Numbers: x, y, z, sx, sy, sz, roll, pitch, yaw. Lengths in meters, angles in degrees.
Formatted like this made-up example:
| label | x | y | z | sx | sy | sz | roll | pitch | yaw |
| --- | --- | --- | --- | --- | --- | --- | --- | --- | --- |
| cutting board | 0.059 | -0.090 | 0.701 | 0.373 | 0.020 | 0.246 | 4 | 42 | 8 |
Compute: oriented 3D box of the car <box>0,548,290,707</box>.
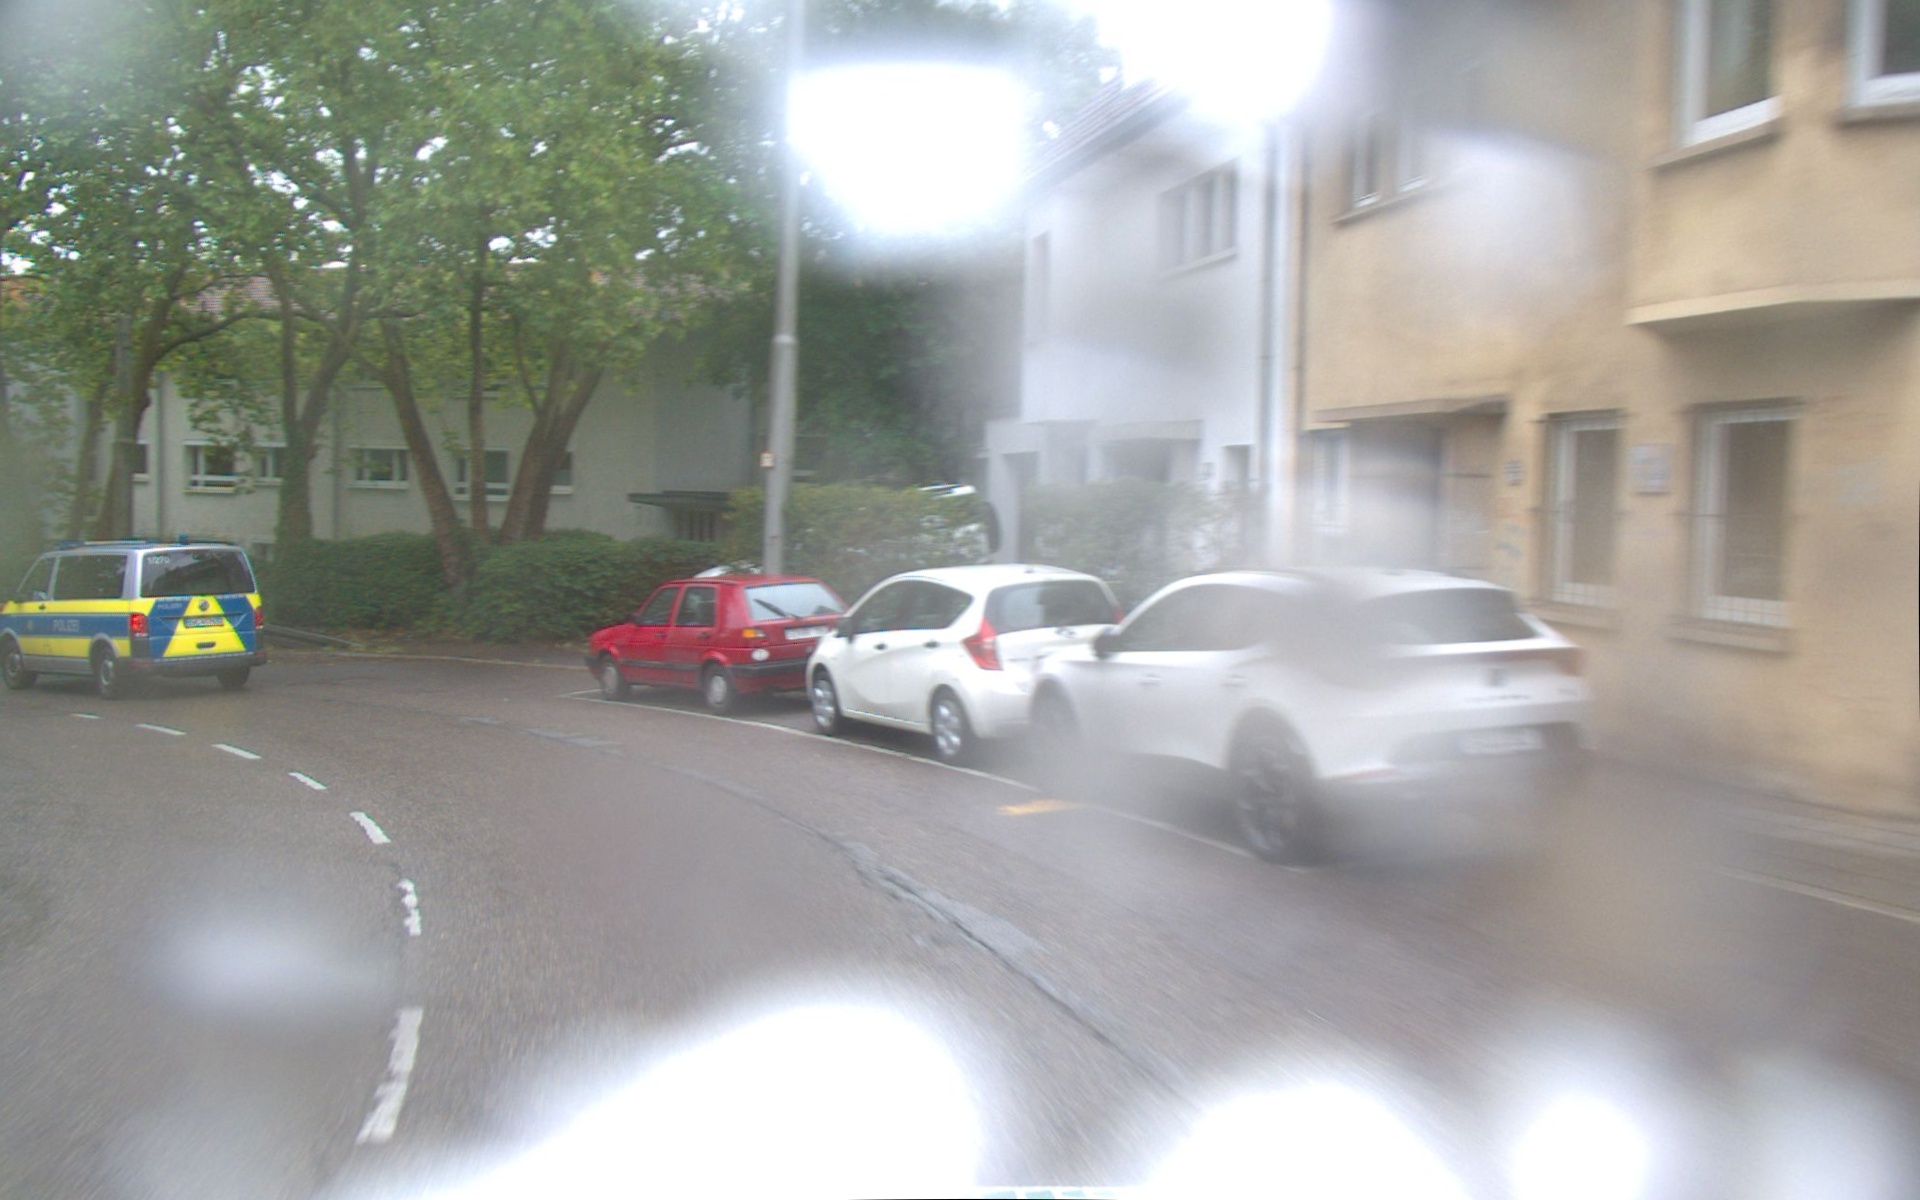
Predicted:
| label | x | y | z | sx | sy | sz | roll | pitch | yaw |
| --- | --- | --- | --- | --- | --- | --- | --- | --- | --- |
| car | -11.366 | 0.311 | 22.872 | 4.485 | 1.926 | 1.990 | 0 | 3 | 40 |

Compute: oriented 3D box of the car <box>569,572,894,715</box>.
| label | x | y | z | sx | sy | sz | roll | pitch | yaw |
| --- | --- | --- | --- | --- | --- | --- | --- | --- | --- |
| car | -2.703 | 0.458 | 18.835 | 1.769 | 1.391 | 4.136 | -2 | 1 | -39 |

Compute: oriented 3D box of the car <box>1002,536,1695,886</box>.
| label | x | y | z | sx | sy | sz | roll | pitch | yaw |
| --- | --- | --- | --- | --- | --- | --- | --- | --- | --- |
| car | 2.003 | 0.504 | 10.006 | 1.887 | 1.565 | 4.385 | -2 | 1 | -22 |

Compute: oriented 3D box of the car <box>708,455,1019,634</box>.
| label | x | y | z | sx | sy | sz | roll | pitch | yaw |
| --- | --- | --- | --- | --- | --- | --- | --- | --- | --- |
| car | -1.530 | -0.880 | 25.386 | 4.324 | 1.872 | 1.995 | -11 | 5 | -11 |

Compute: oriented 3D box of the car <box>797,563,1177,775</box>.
| label | x | y | z | sx | sy | sz | roll | pitch | yaw |
| --- | --- | --- | --- | --- | --- | --- | --- | --- | --- |
| car | 0.090 | 0.491 | 14.490 | 1.744 | 1.541 | 3.789 | -2 | 2 | -27 |
